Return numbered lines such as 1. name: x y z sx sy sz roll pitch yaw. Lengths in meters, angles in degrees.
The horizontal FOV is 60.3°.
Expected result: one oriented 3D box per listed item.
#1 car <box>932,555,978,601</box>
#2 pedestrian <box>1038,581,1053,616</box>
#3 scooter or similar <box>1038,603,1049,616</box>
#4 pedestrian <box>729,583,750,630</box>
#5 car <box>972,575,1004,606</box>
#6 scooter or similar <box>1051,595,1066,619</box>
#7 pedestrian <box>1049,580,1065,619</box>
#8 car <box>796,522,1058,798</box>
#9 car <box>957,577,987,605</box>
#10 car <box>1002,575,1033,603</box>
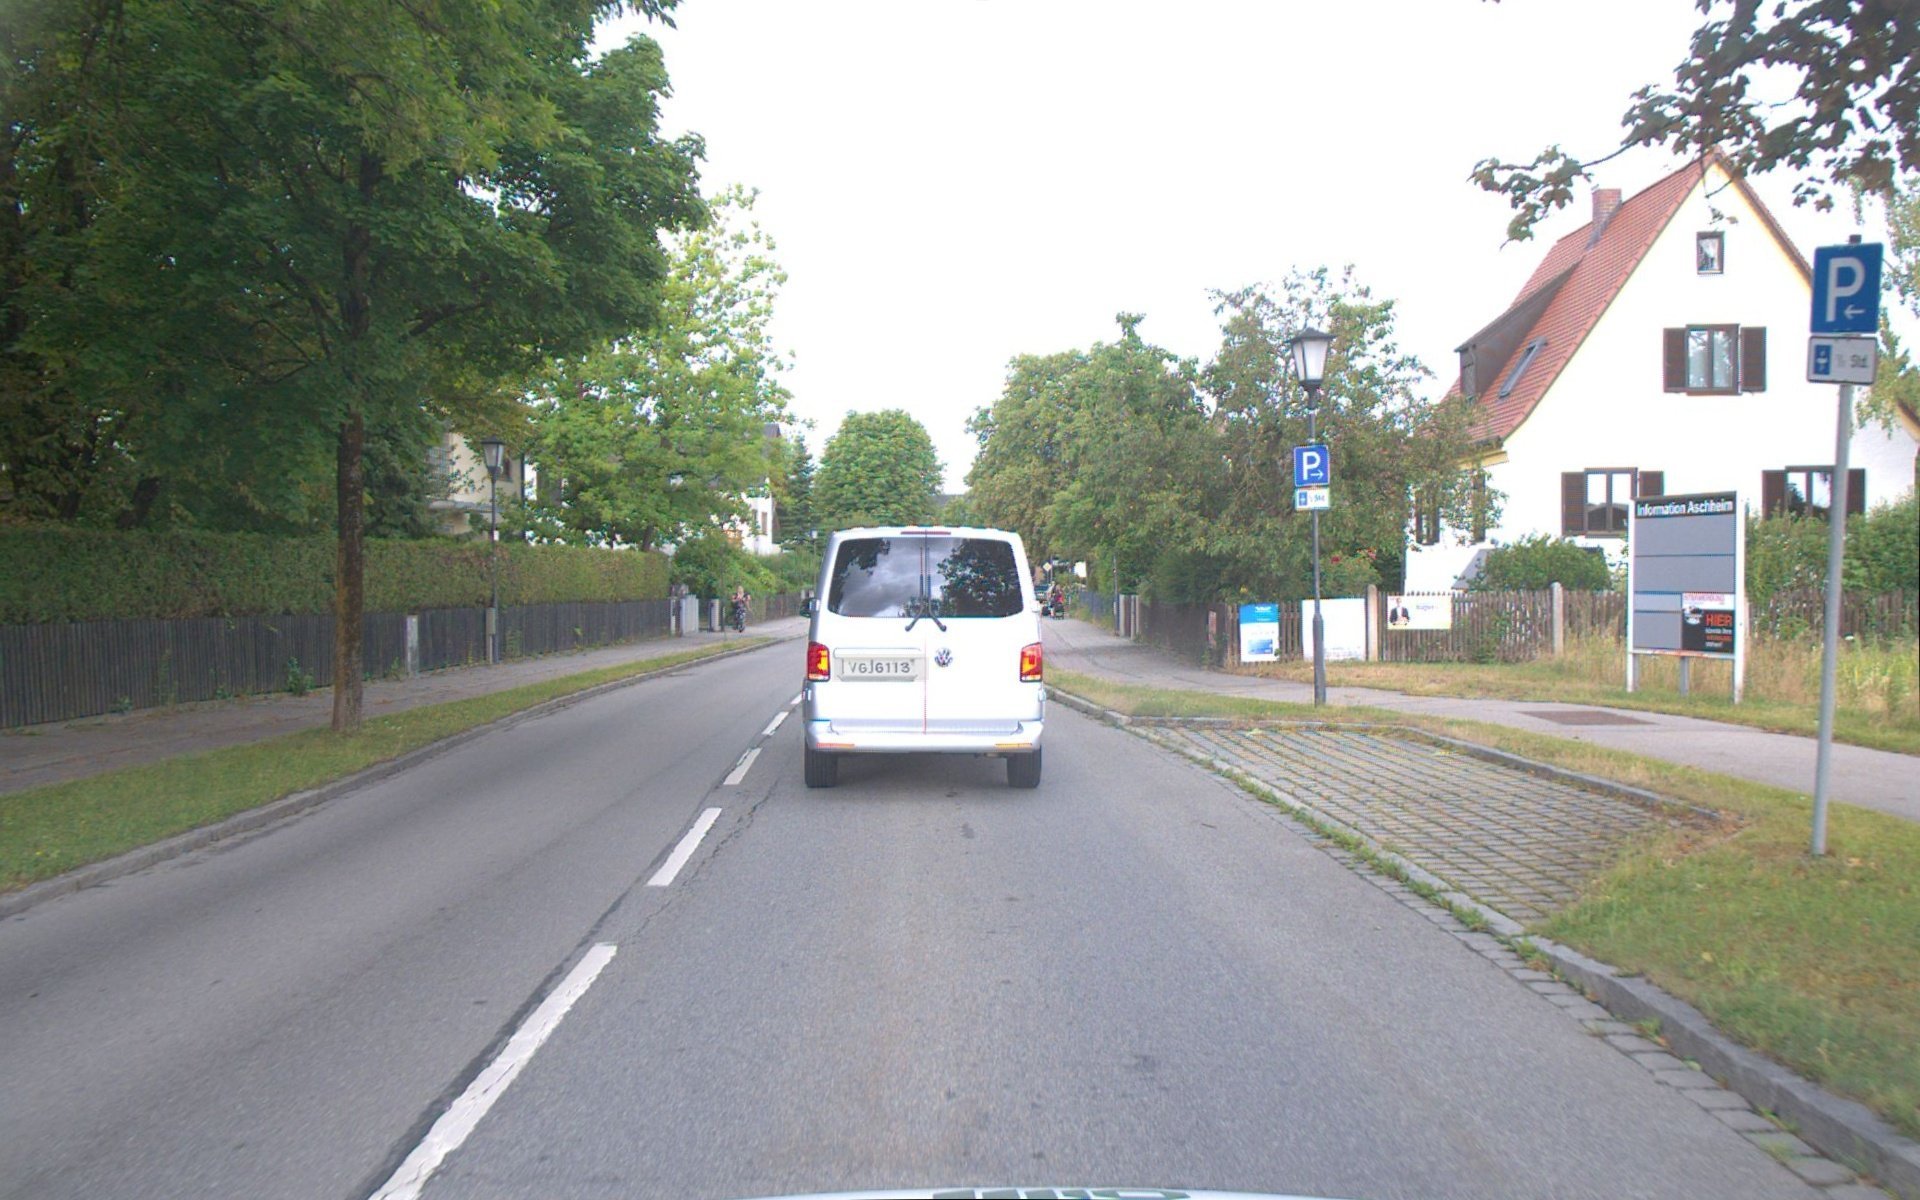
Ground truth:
1. car: -0.210 -1.008 77.603 1.952 2.049 4.001 1 0 2
2. pedestrian: 3.874 -0.060 74.794 0.610 1.550 0.579 1 0 -3
3. scooter or similar: 3.792 0.436 75.368 0.465 0.554 0.458 1 0 -3
4. pedestrian: -7.443 0.220 55.831 0.610 1.576 0.522 1 0 -3
5. car: 1.929 -0.671 113.174 1.952 2.049 4.002 -1 0 4
6. scooter or similar: 4.003 0.280 67.145 0.540 0.988 0.620 1 0 -3
7. pedestrian: 3.982 -0.011 67.848 0.540 1.576 0.611 1 0 -3
8. car: -0.223 0.413 13.717 1.849 1.945 4.000 0 0 0
9. car: 0.914 -0.726 125.540 1.951 2.049 4.003 -1 0 5
10. car: 4.363 -0.824 125.194 1.951 2.049 4.003 -1 0 7
